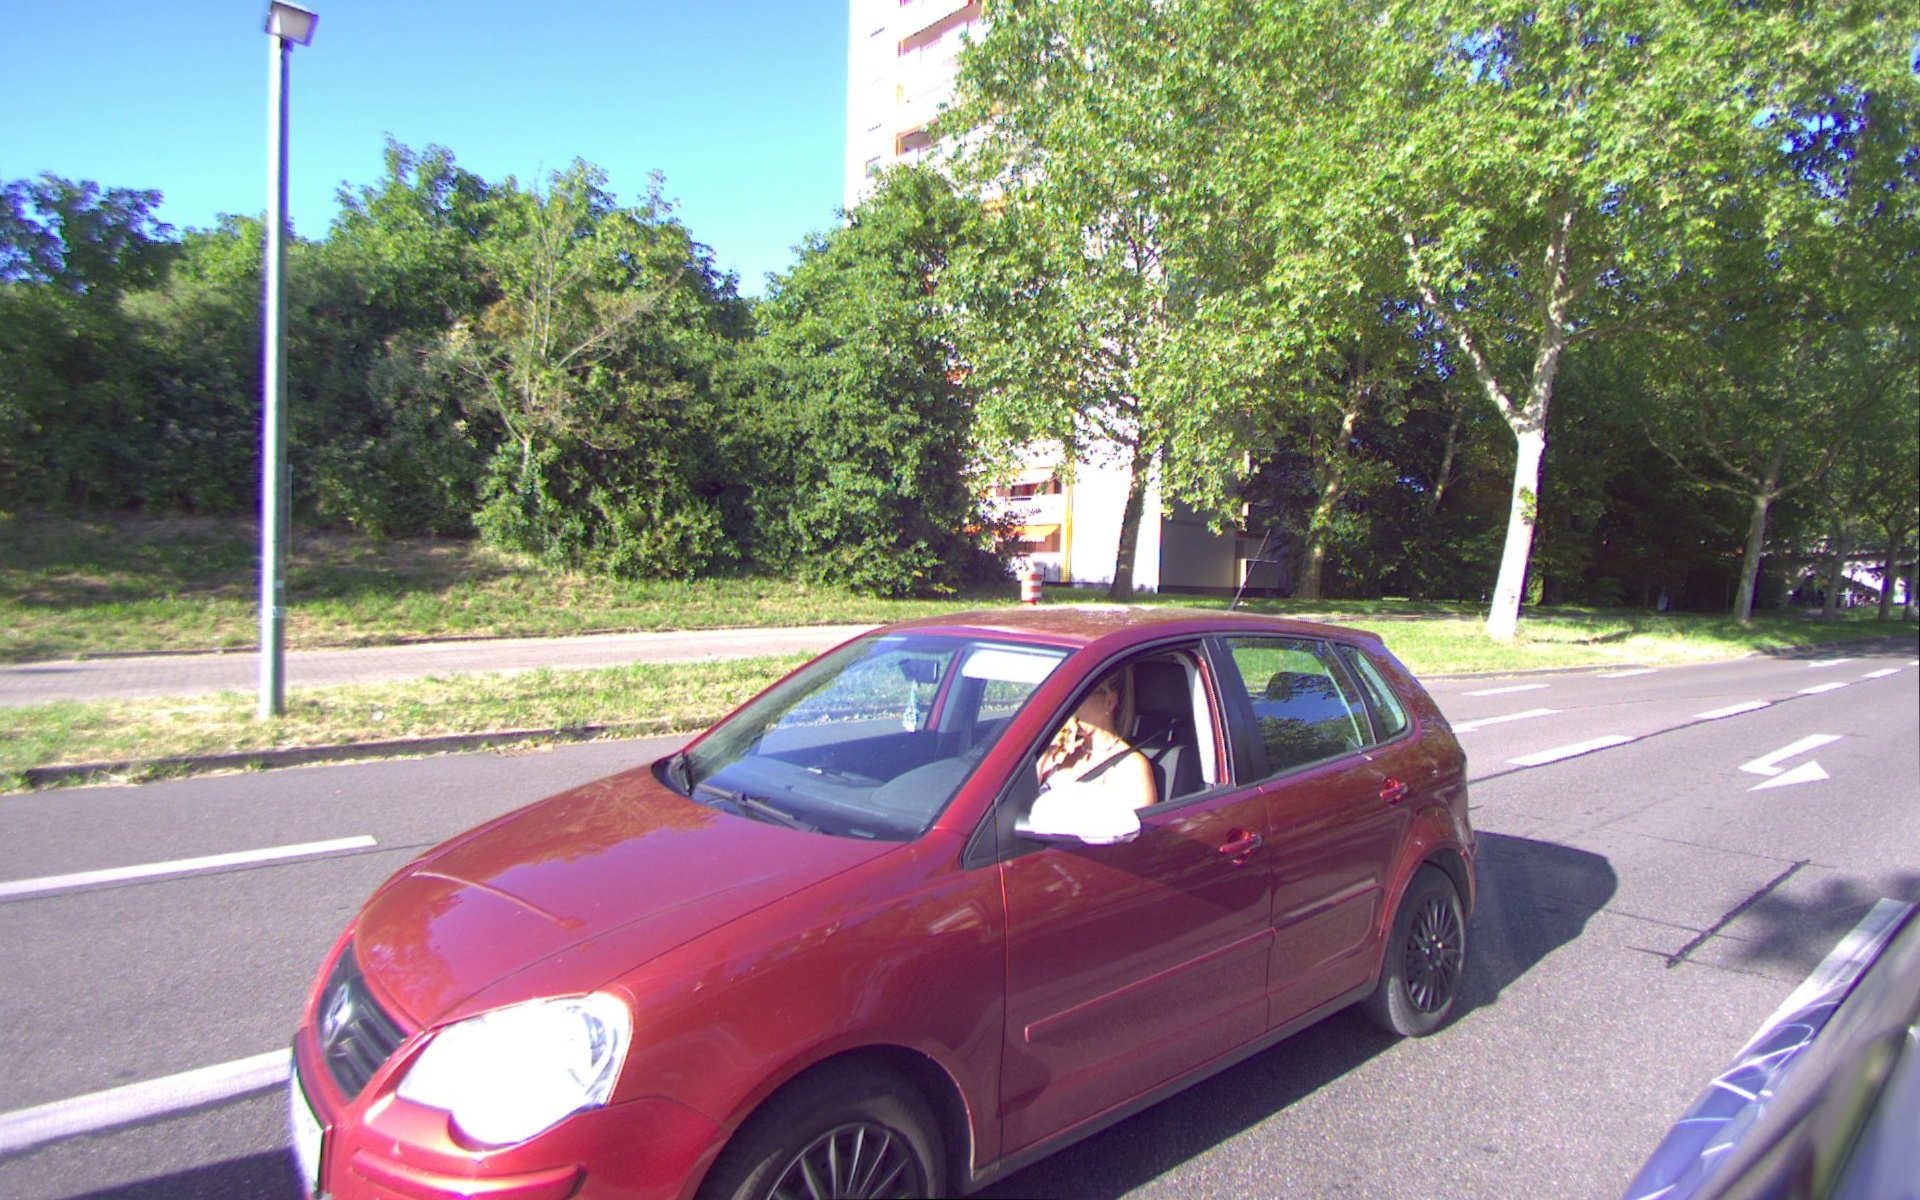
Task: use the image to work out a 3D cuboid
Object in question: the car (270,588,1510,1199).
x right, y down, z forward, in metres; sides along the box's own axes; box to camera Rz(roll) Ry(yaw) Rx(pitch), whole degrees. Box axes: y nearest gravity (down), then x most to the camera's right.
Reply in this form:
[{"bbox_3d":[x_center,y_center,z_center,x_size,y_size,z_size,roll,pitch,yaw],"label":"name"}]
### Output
[{"bbox_3d":[0.108,0.696,3.223,3.694,1.456,1.645,-1,1,-40],"label":"car"}]
